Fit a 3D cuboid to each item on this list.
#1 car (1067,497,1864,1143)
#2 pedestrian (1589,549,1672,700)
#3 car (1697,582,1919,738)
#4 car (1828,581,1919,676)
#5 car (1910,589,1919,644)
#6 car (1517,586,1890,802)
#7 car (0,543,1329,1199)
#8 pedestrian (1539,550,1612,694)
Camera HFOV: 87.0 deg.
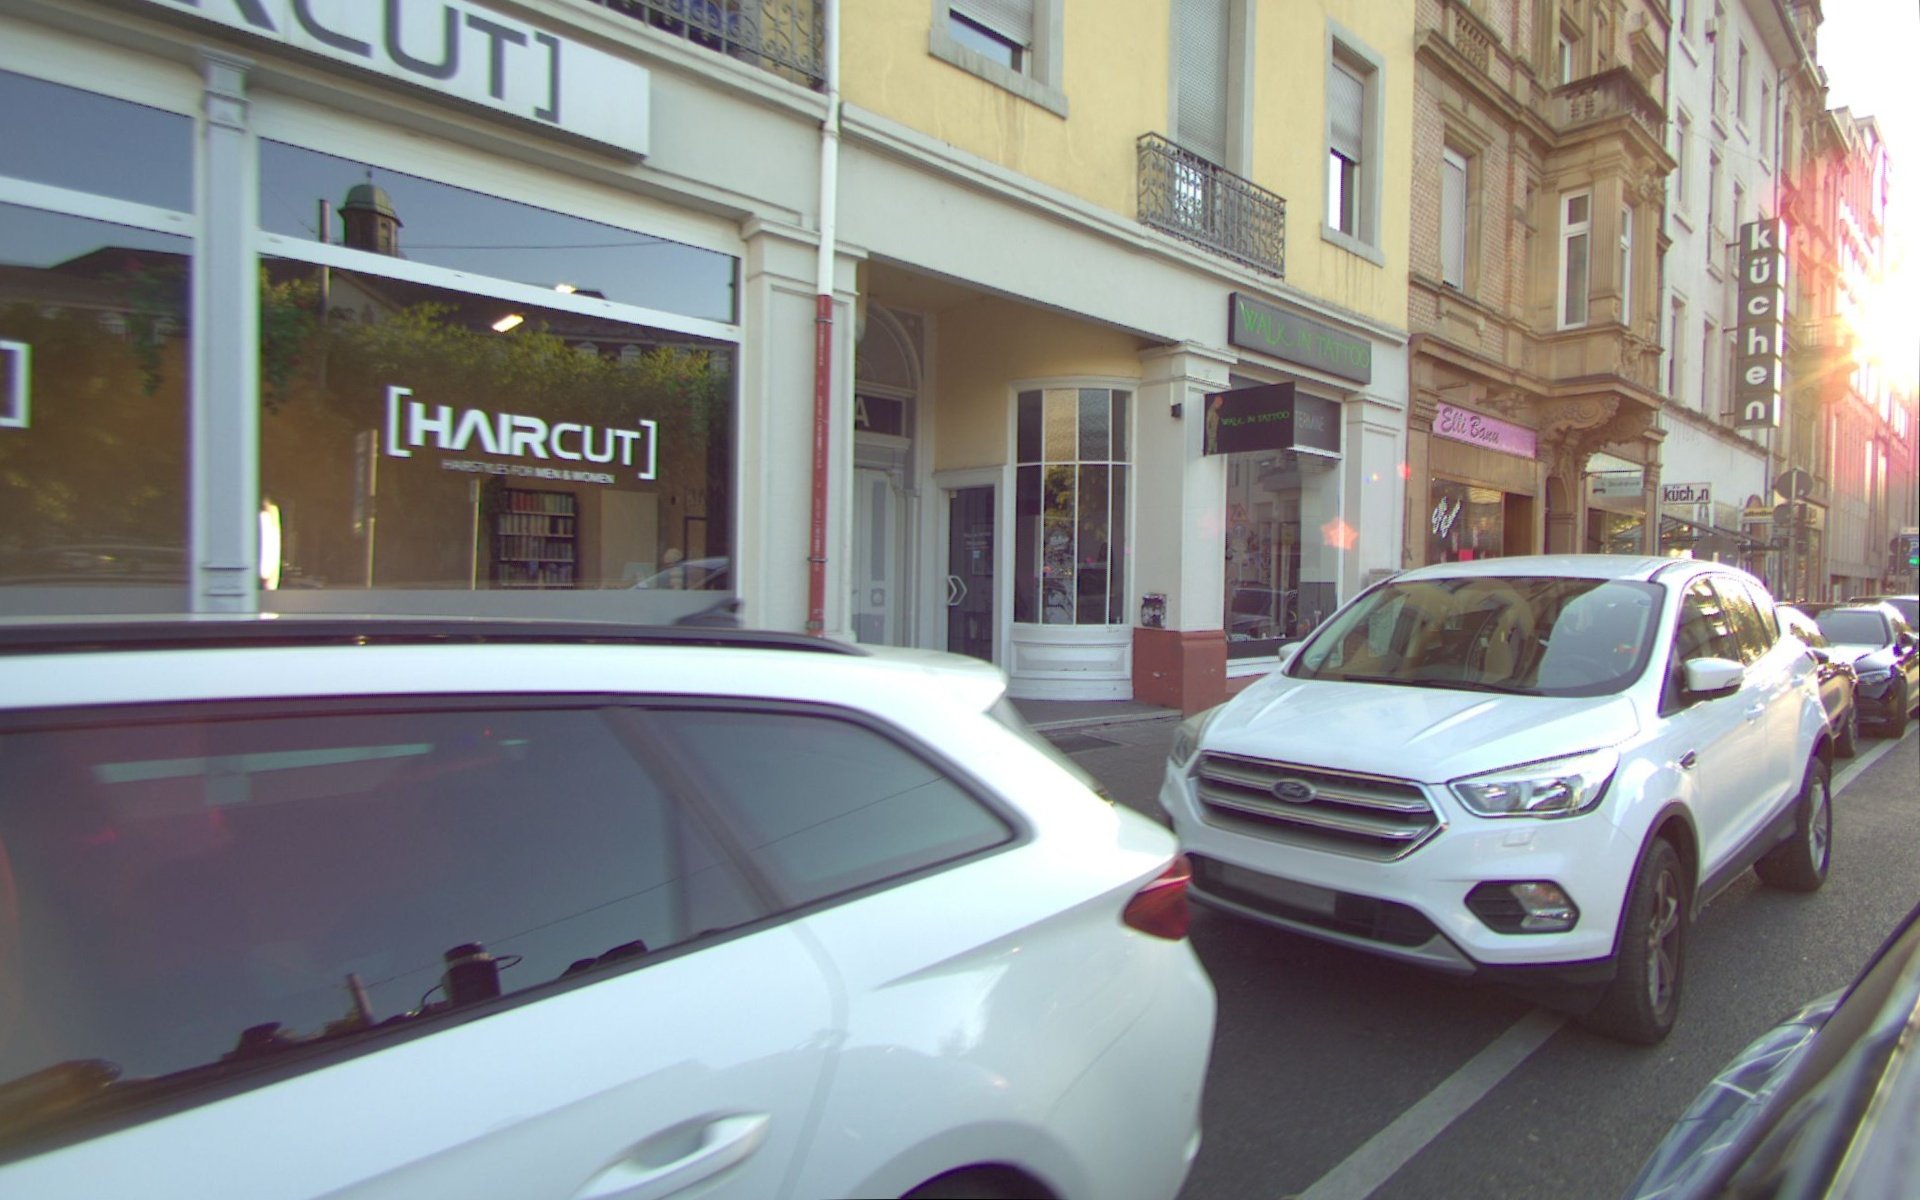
[{"bbox_3d":[2.682,0.556,4.805,4.352,1.695,1.876,0,1,-41],"label":"car"},{"bbox_3d":[9.417,0.320,14.220,0.836,2.039,0.763,0,0,-41],"label":"pedestrian"},{"bbox_3d":[10.634,0.582,12.317,4.374,1.559,1.906,0,1,-43],"label":"car"},{"bbox_3d":[17.579,0.473,18.883,4.131,1.603,1.642,0,1,-43],"label":"car"},{"bbox_3d":[27.203,0.442,27.376,4.374,1.447,1.906,0,1,-43],"label":"car"},{"bbox_3d":[6.779,0.618,9.031,4.374,1.447,1.906,0,1,-43],"label":"car"},{"bbox_3d":[-1.537,0.680,1.195,4.530,1.475,1.737,0,1,-41],"label":"car"},{"bbox_3d":[9.049,0.302,14.874,0.836,2.039,0.673,0,0,-41],"label":"pedestrian"}]
